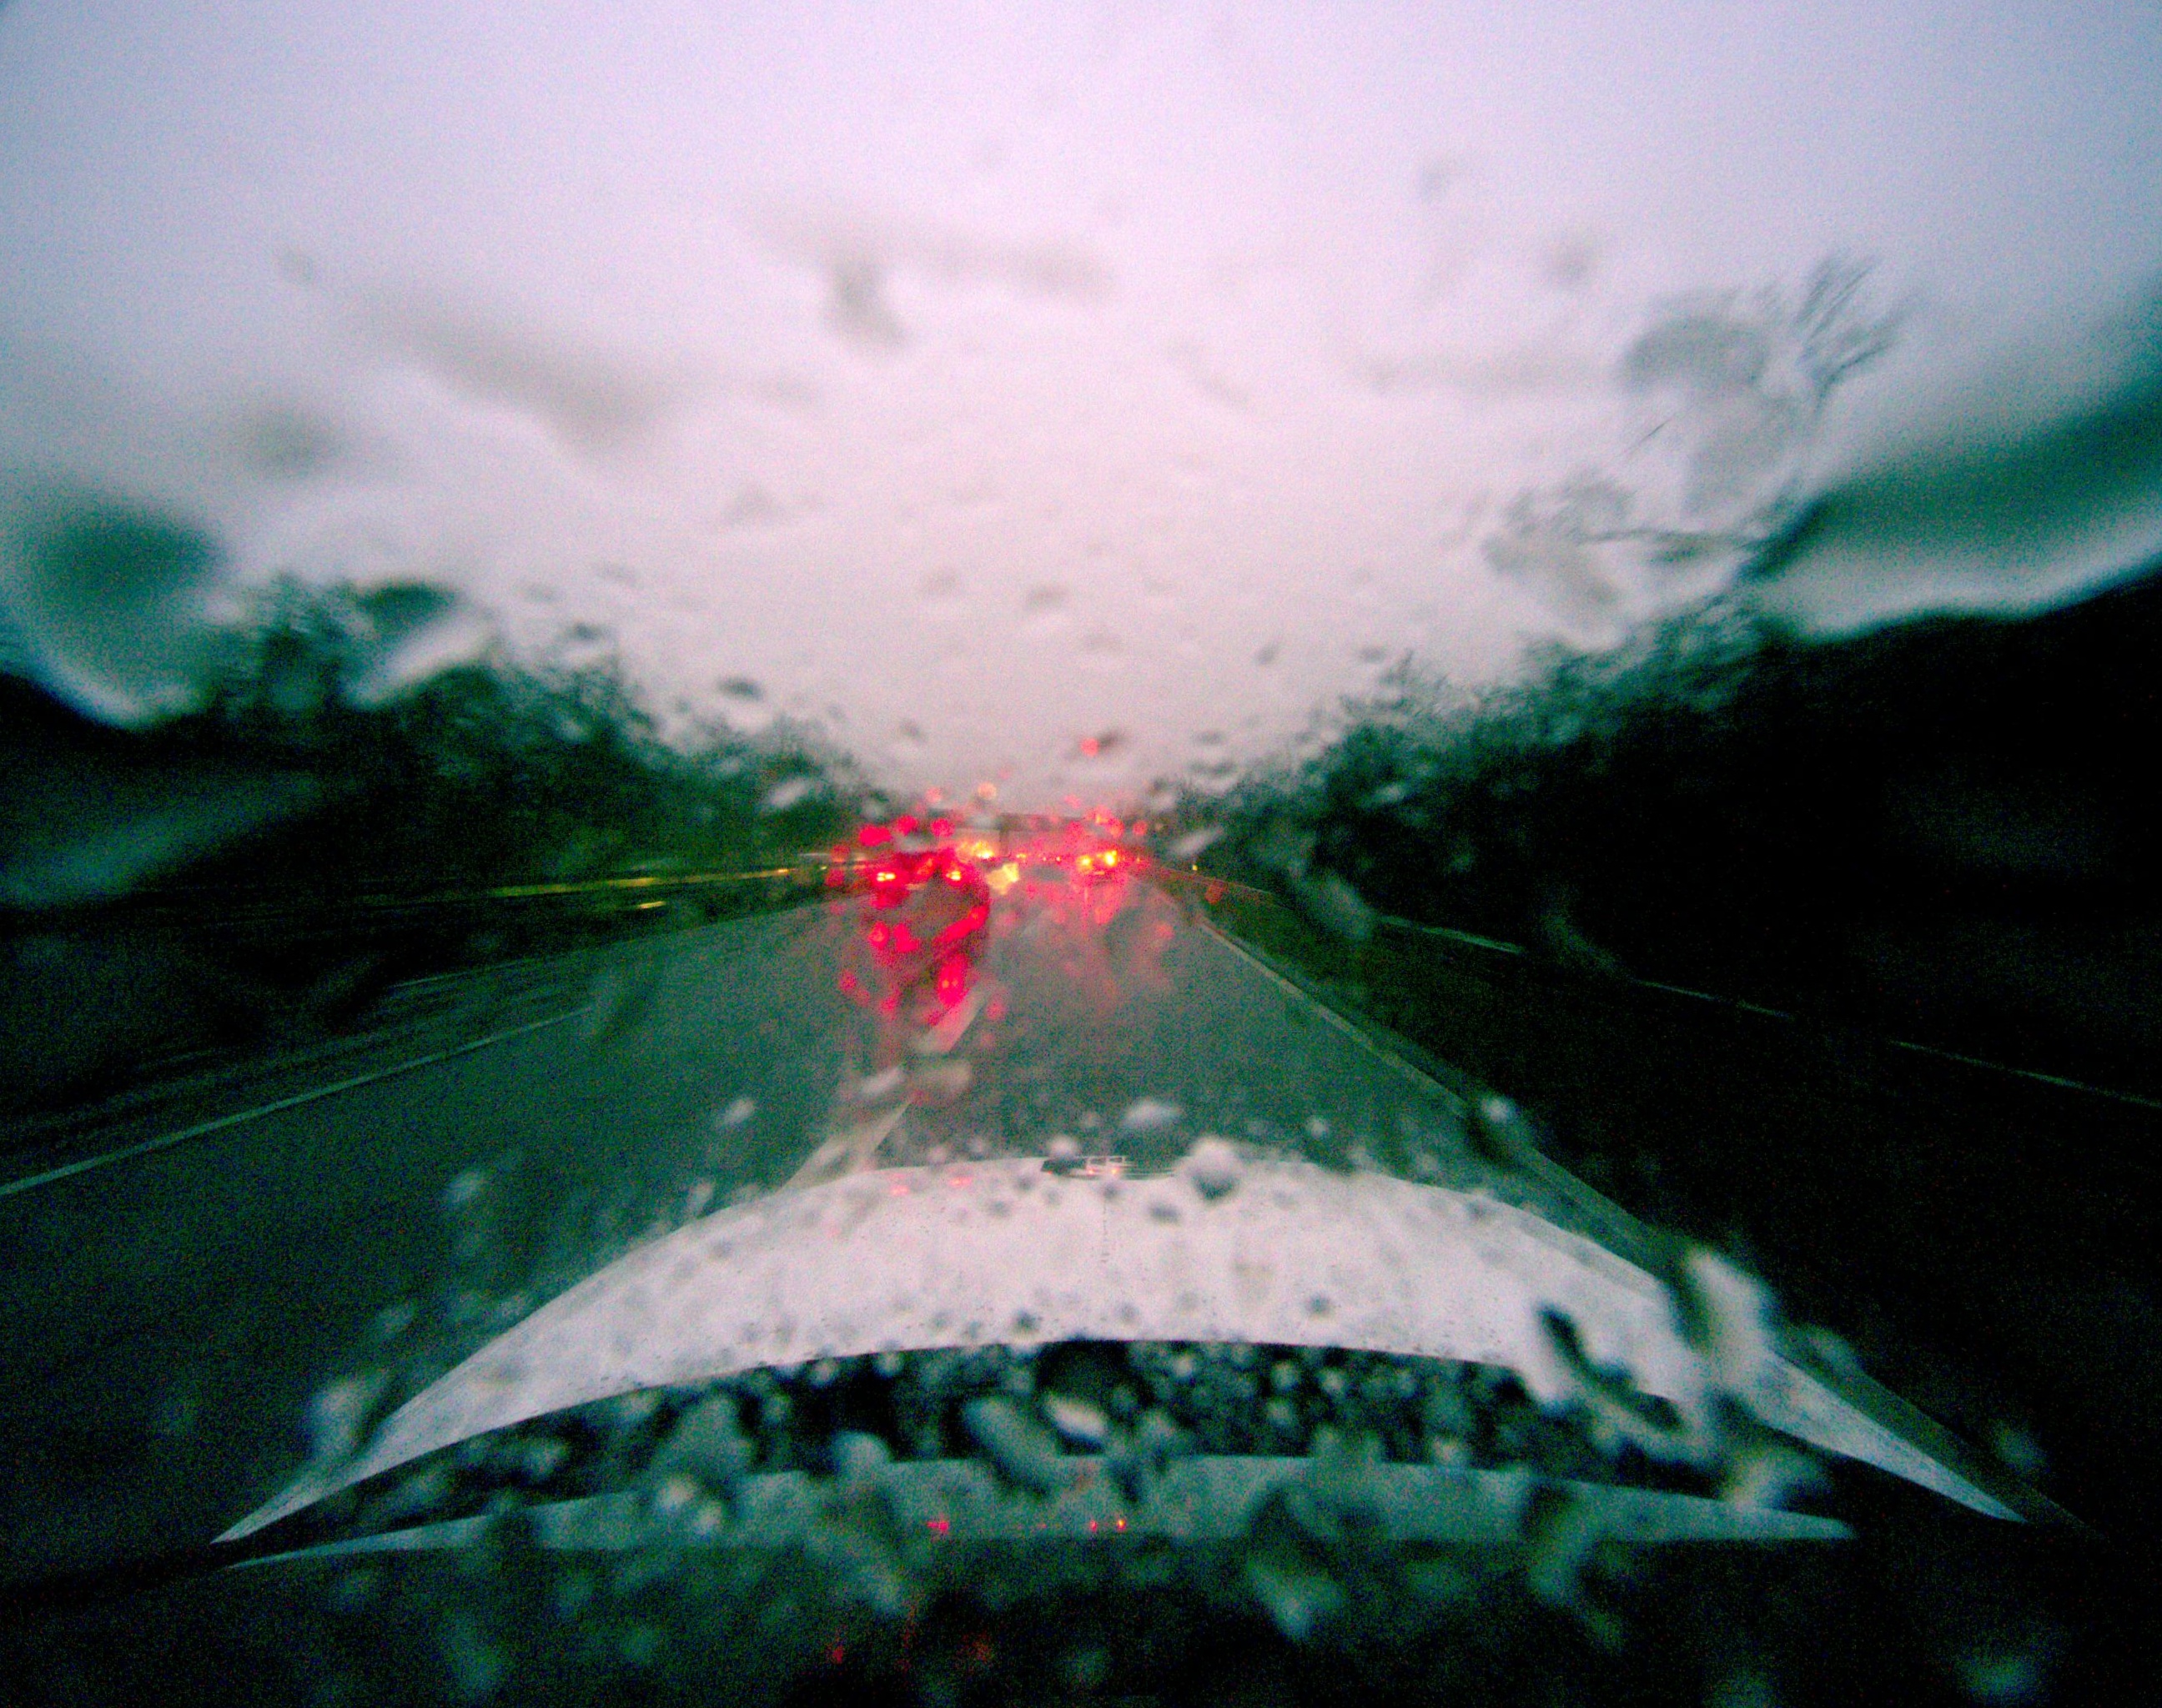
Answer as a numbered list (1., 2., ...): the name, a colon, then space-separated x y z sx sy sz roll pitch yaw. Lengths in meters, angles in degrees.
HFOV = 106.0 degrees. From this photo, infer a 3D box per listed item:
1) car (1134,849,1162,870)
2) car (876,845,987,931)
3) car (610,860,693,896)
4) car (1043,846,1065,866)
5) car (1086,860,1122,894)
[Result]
1. car: 4.655 0.399 57.060 1.677 1.418 3.875 -1 -1 1
2. car: -3.168 0.651 18.017 1.990 1.665 3.993 -1 0 -5
3. car: -20.745 1.131 39.547 1.677 1.635 4.205 -1 -1 1
4. car: -2.398 0.148 72.783 1.872 1.617 3.874 1 2 0
5. car: 1.159 1.106 40.910 1.725 1.429 3.769 0 3 2
